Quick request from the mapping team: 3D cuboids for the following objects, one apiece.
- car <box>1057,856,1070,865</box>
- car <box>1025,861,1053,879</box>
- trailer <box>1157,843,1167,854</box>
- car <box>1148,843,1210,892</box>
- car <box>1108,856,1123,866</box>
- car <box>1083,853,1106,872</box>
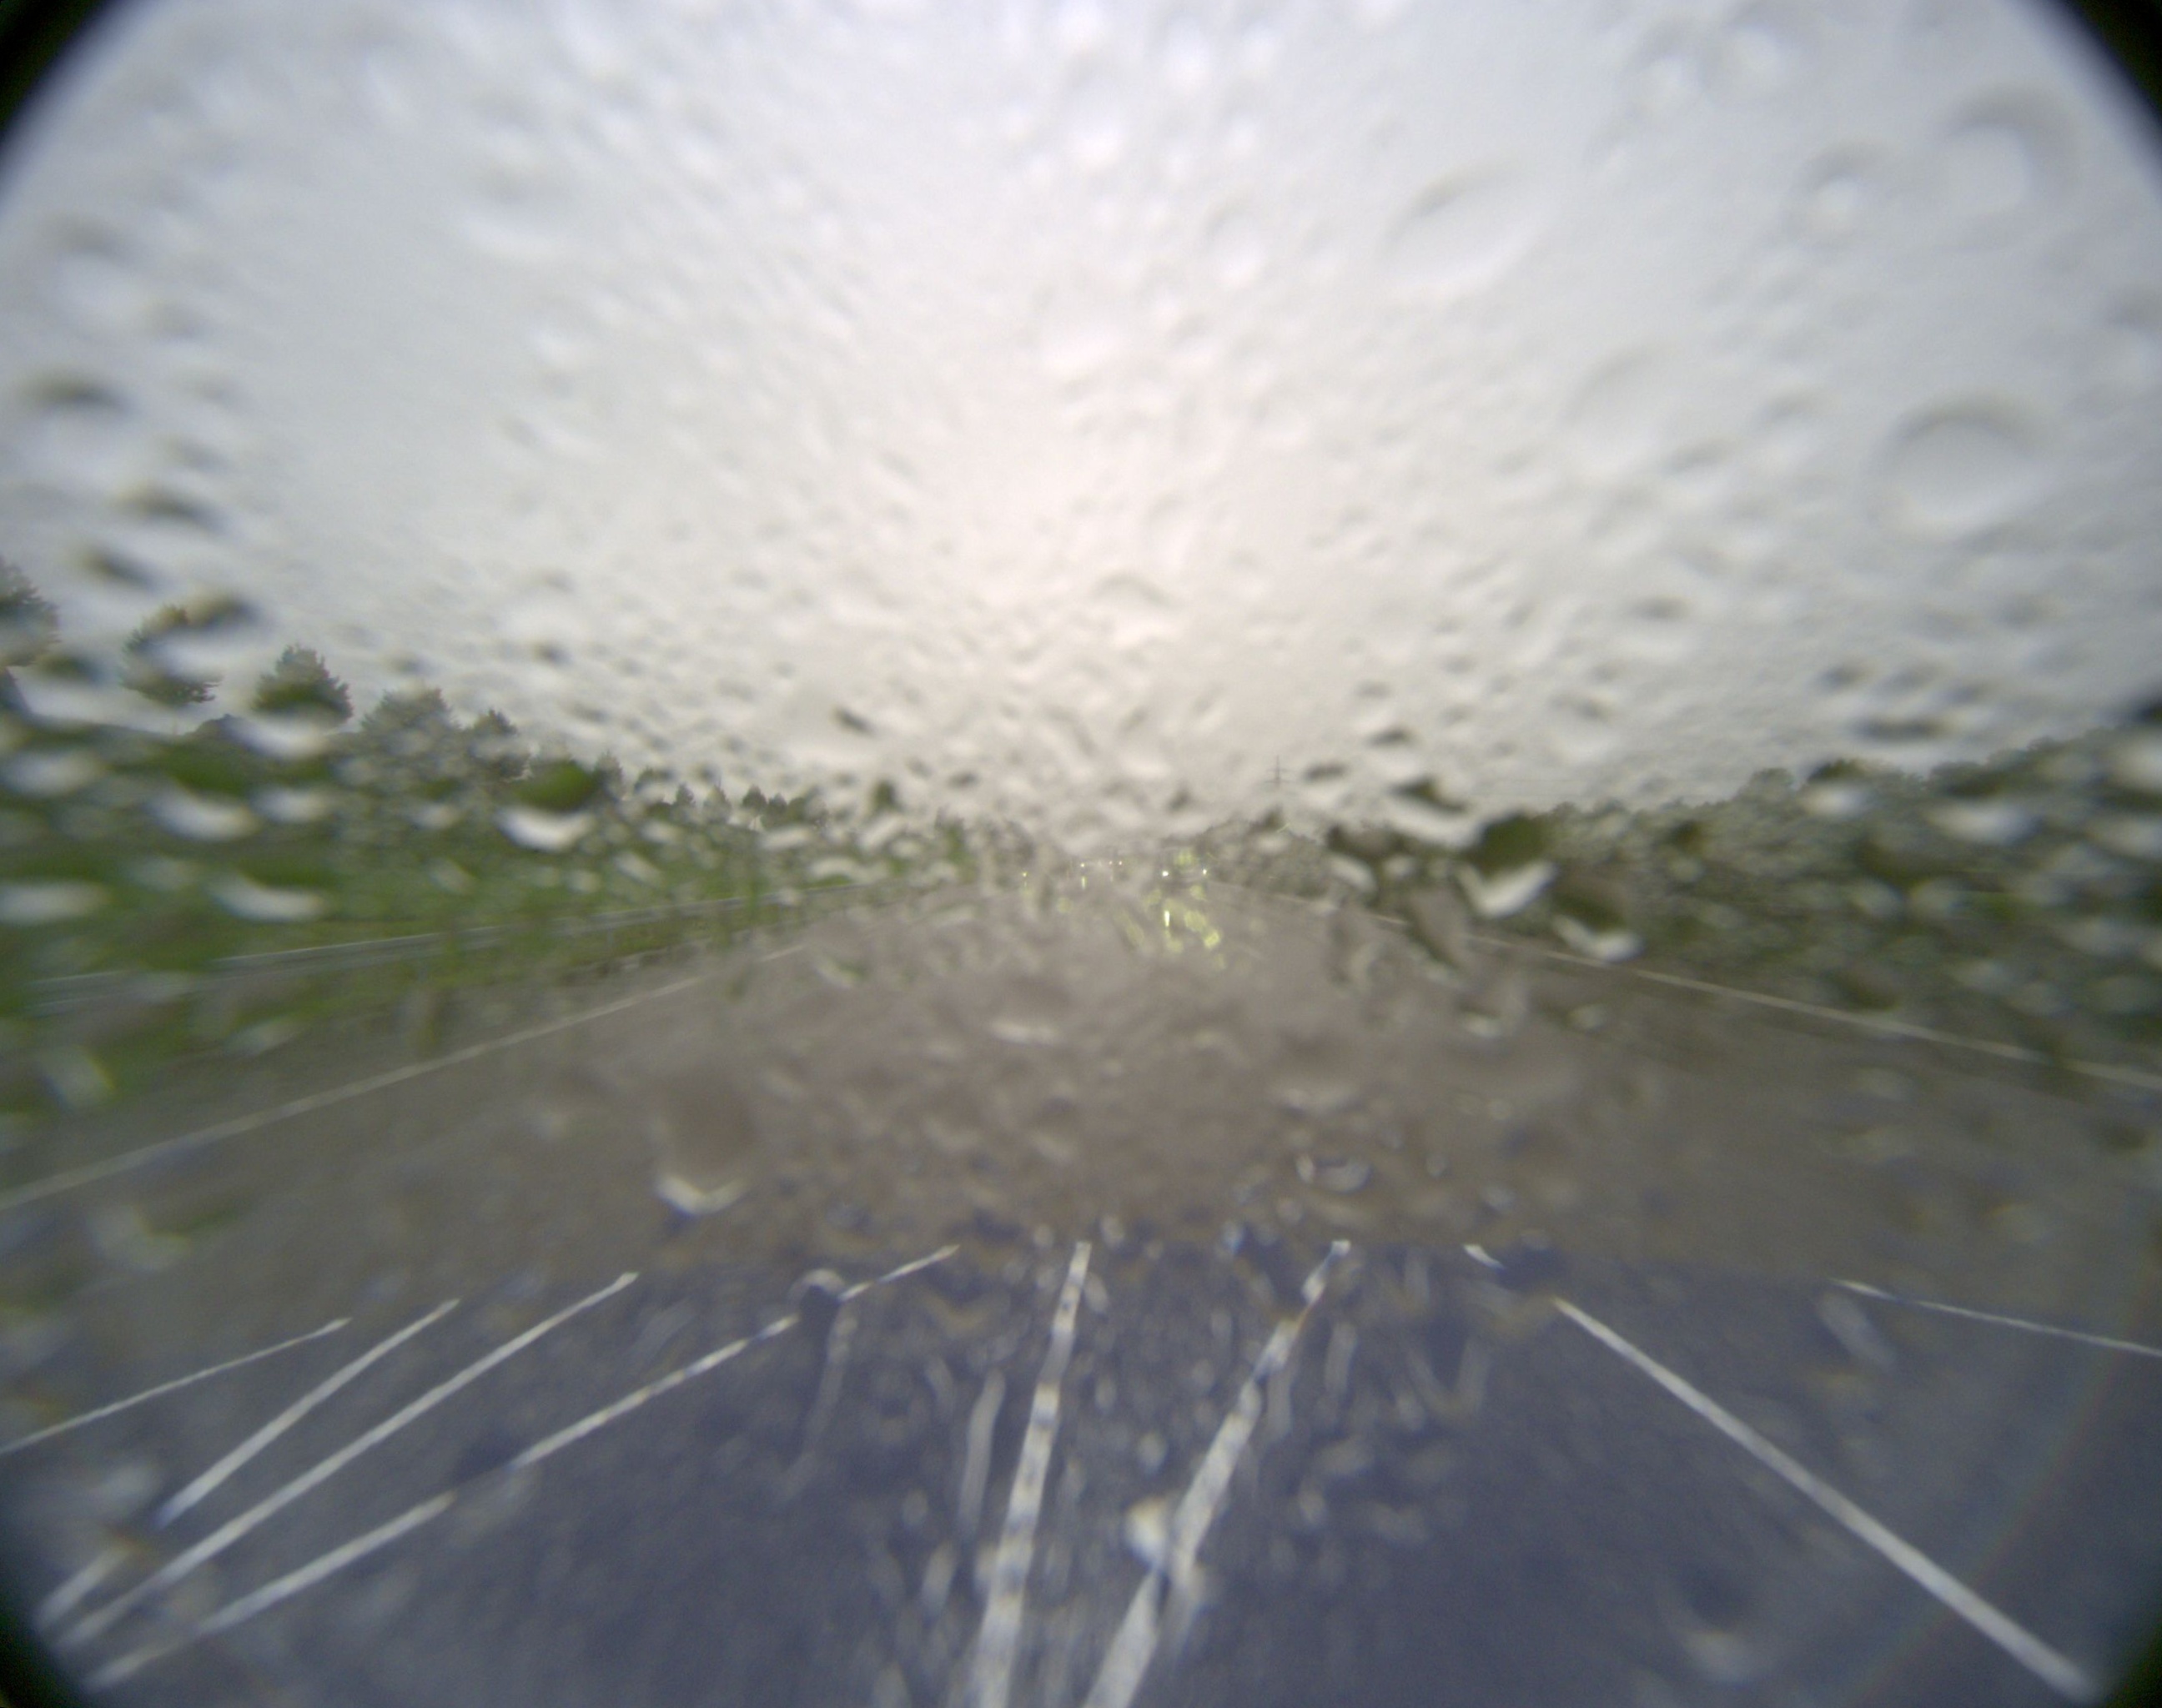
[{"bbox_3d":[-2.698,1.029,117.949,1.753,1.205,4.000,-3,0,0],"label":"car"},{"bbox_3d":[-3.111,1.184,56.989,1.753,1.205,4.000,-3,0,0],"label":"car"},{"bbox_3d":[23.861,-1.616,223.822,2.252,3.047,8.264,-3,0,1],"label":"trailer"},{"bbox_3d":[3.873,0.498,30.691,2.047,1.763,4.501,-2,0,2],"label":"car"},{"bbox_3d":[4.775,0.960,105.397,1.753,1.369,4.000,-3,0,0],"label":"car"},{"bbox_3d":[1.095,0.685,63.674,1.753,1.406,4.000,-3,0,0],"label":"car"}]
